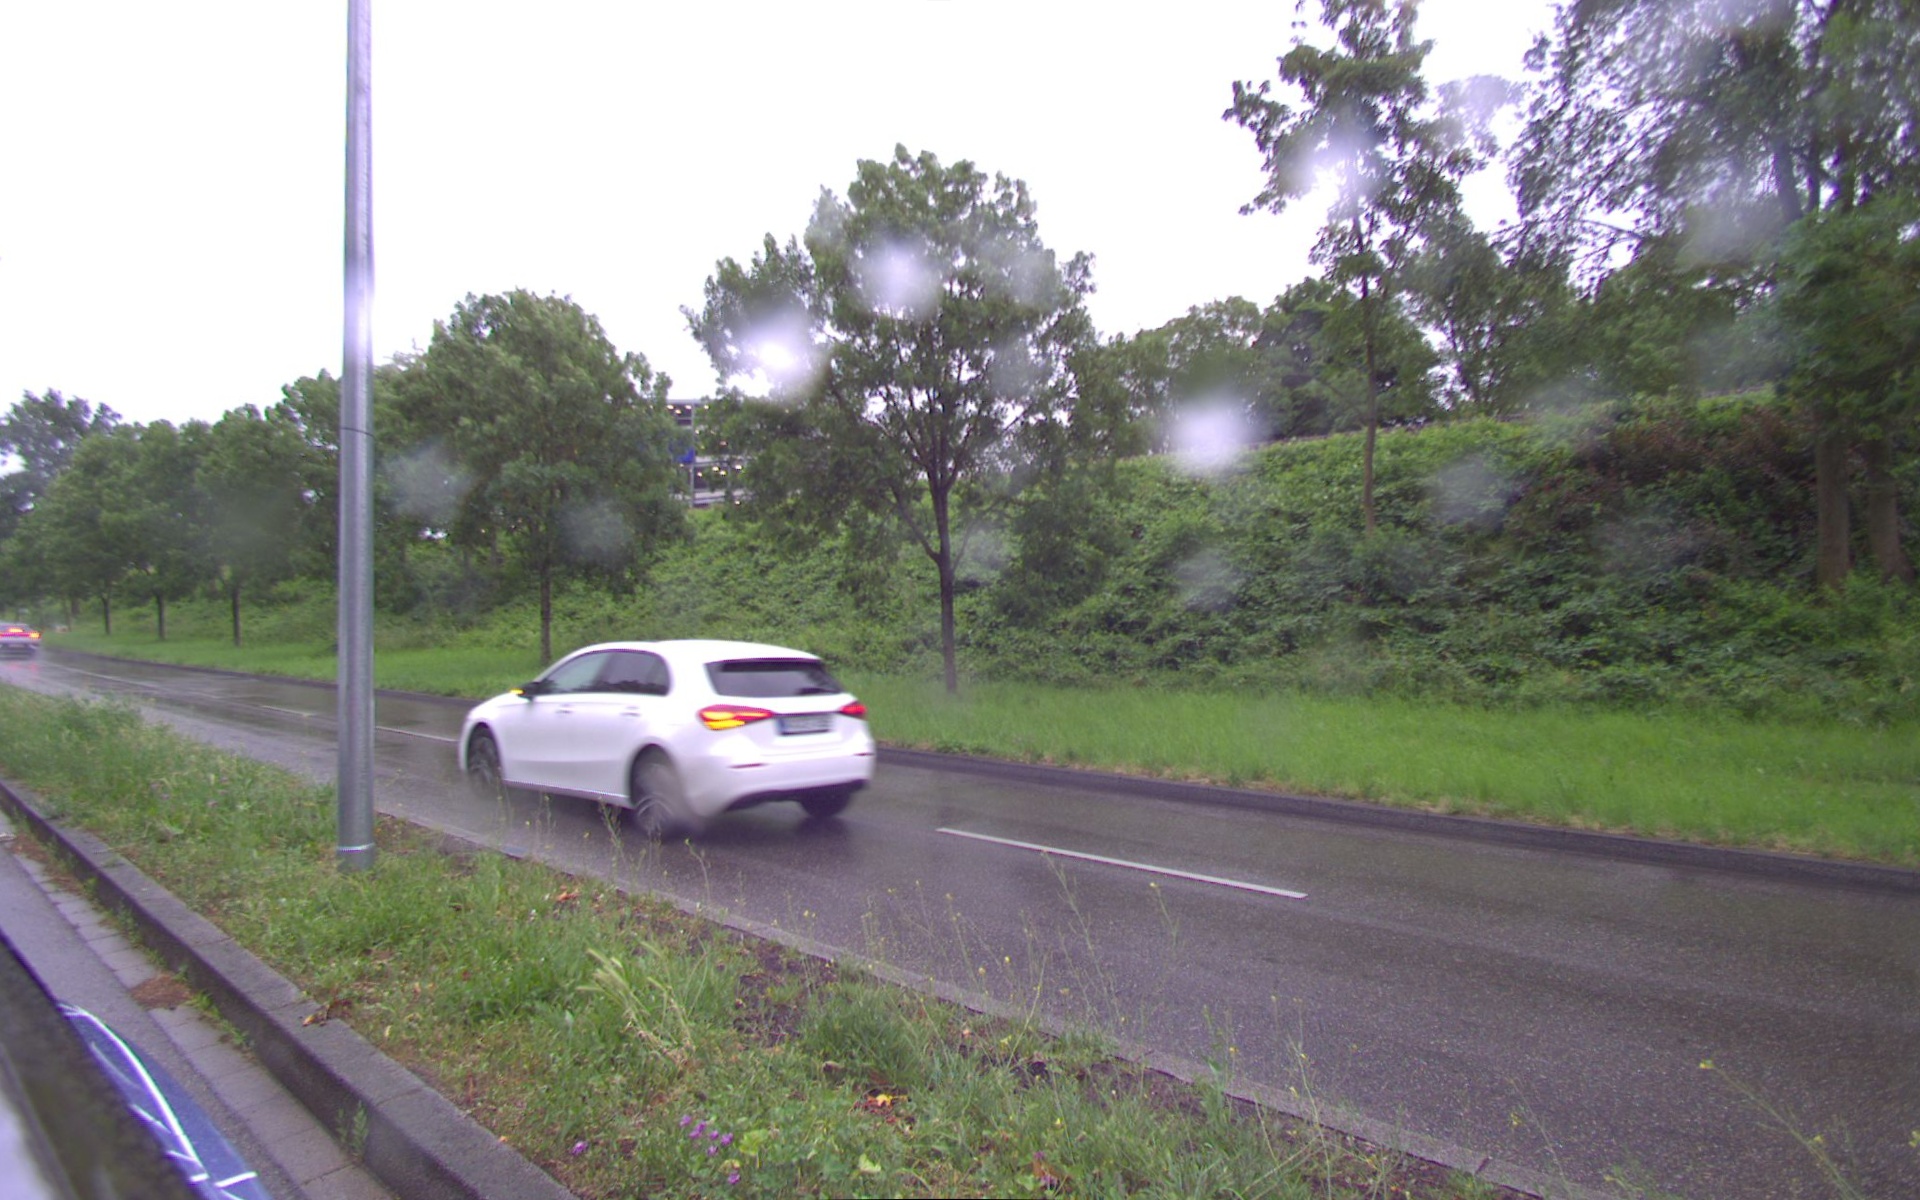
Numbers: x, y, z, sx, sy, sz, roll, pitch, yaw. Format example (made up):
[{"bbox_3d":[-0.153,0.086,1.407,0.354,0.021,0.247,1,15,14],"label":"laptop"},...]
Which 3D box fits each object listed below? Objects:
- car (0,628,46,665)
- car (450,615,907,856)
[{"bbox_3d":[-41.951,2.036,44.610,4.299,1.531,1.867,-2,-4,41],"label":"car"},{"bbox_3d":[-2.520,0.946,8.540,4.045,1.531,1.716,0,-4,41],"label":"car"}]
